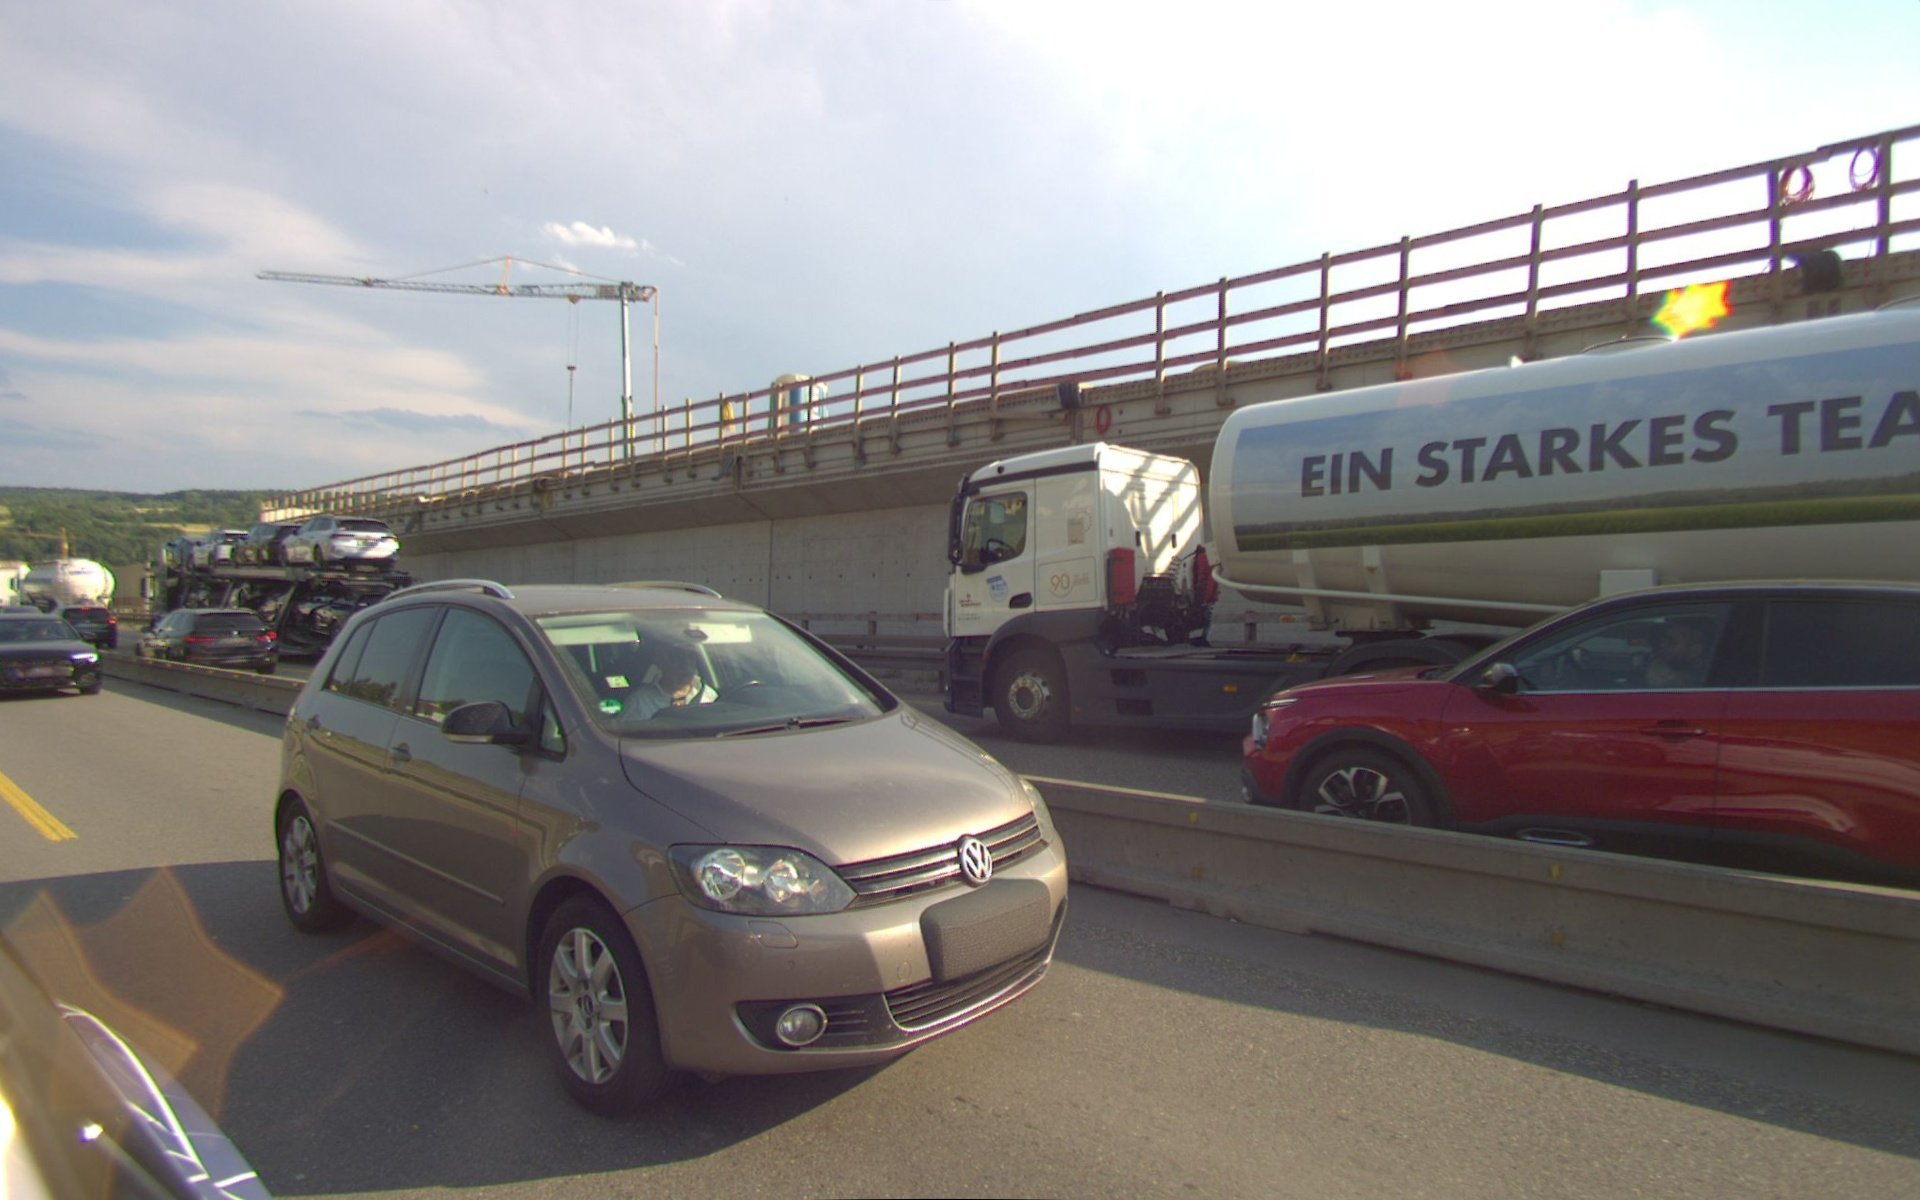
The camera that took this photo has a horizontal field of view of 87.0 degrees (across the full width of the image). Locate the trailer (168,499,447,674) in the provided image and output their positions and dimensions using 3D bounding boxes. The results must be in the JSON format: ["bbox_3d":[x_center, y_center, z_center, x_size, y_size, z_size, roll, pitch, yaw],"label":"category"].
[{"bbox_3d":[-19.788,-0.319,29.808,15.757,4.061,2.742,0,0,41],"label":"trailer"}]

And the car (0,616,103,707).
[{"bbox_3d":[-16.944,1.024,18.084,4.347,1.430,1.849,0,-1,41],"label":"car"}]

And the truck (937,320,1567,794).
[{"bbox_3d":[2.655,-0.319,10.113,5.528,3.435,2.522,0,0,41],"label":"truck"}]

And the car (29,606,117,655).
[{"bbox_3d":[-30.890,1.010,35.212,4.337,1.589,1.738,0,0,41],"label":"car"}]

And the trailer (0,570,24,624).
[{"bbox_3d":[-77.262,-0.215,80.421,13.770,4.067,2.894,0,0,42],"label":"trailer"}]

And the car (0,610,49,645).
[{"bbox_3d":[-43.082,1.223,46.221,4.598,1.456,1.691,0,0,42],"label":"car"}]

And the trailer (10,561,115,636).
[{"bbox_3d":[-50.842,-0.083,57.132,13.435,3.879,2.625,0,0,41],"label":"trailer"}]

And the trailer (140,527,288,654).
[{"bbox_3d":[-26.349,-0.314,35.617,7.205,4.061,2.742,0,0,41],"label":"trailer"}]

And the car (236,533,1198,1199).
[{"bbox_3d":[-1.358,0.654,4.146,4.269,1.600,1.663,0,0,41],"label":"car"}]

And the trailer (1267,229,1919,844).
[{"bbox_3d":[7.401,-0.377,5.904,10.677,3.553,2.530,0,0,41],"label":"trailer"}]

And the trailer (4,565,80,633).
[{"bbox_3d":[-55.569,-0.079,61.244,6.425,3.879,2.625,0,0,41],"label":"trailer"}]

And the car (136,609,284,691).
[{"bbox_3d":[-16.516,1.002,22.196,4.836,1.563,1.746,0,0,43],"label":"car"}]

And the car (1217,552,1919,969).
[{"bbox_3d":[3.624,0.609,4.913,4.294,1.569,1.708,-1,0,41],"label":"car"}]
